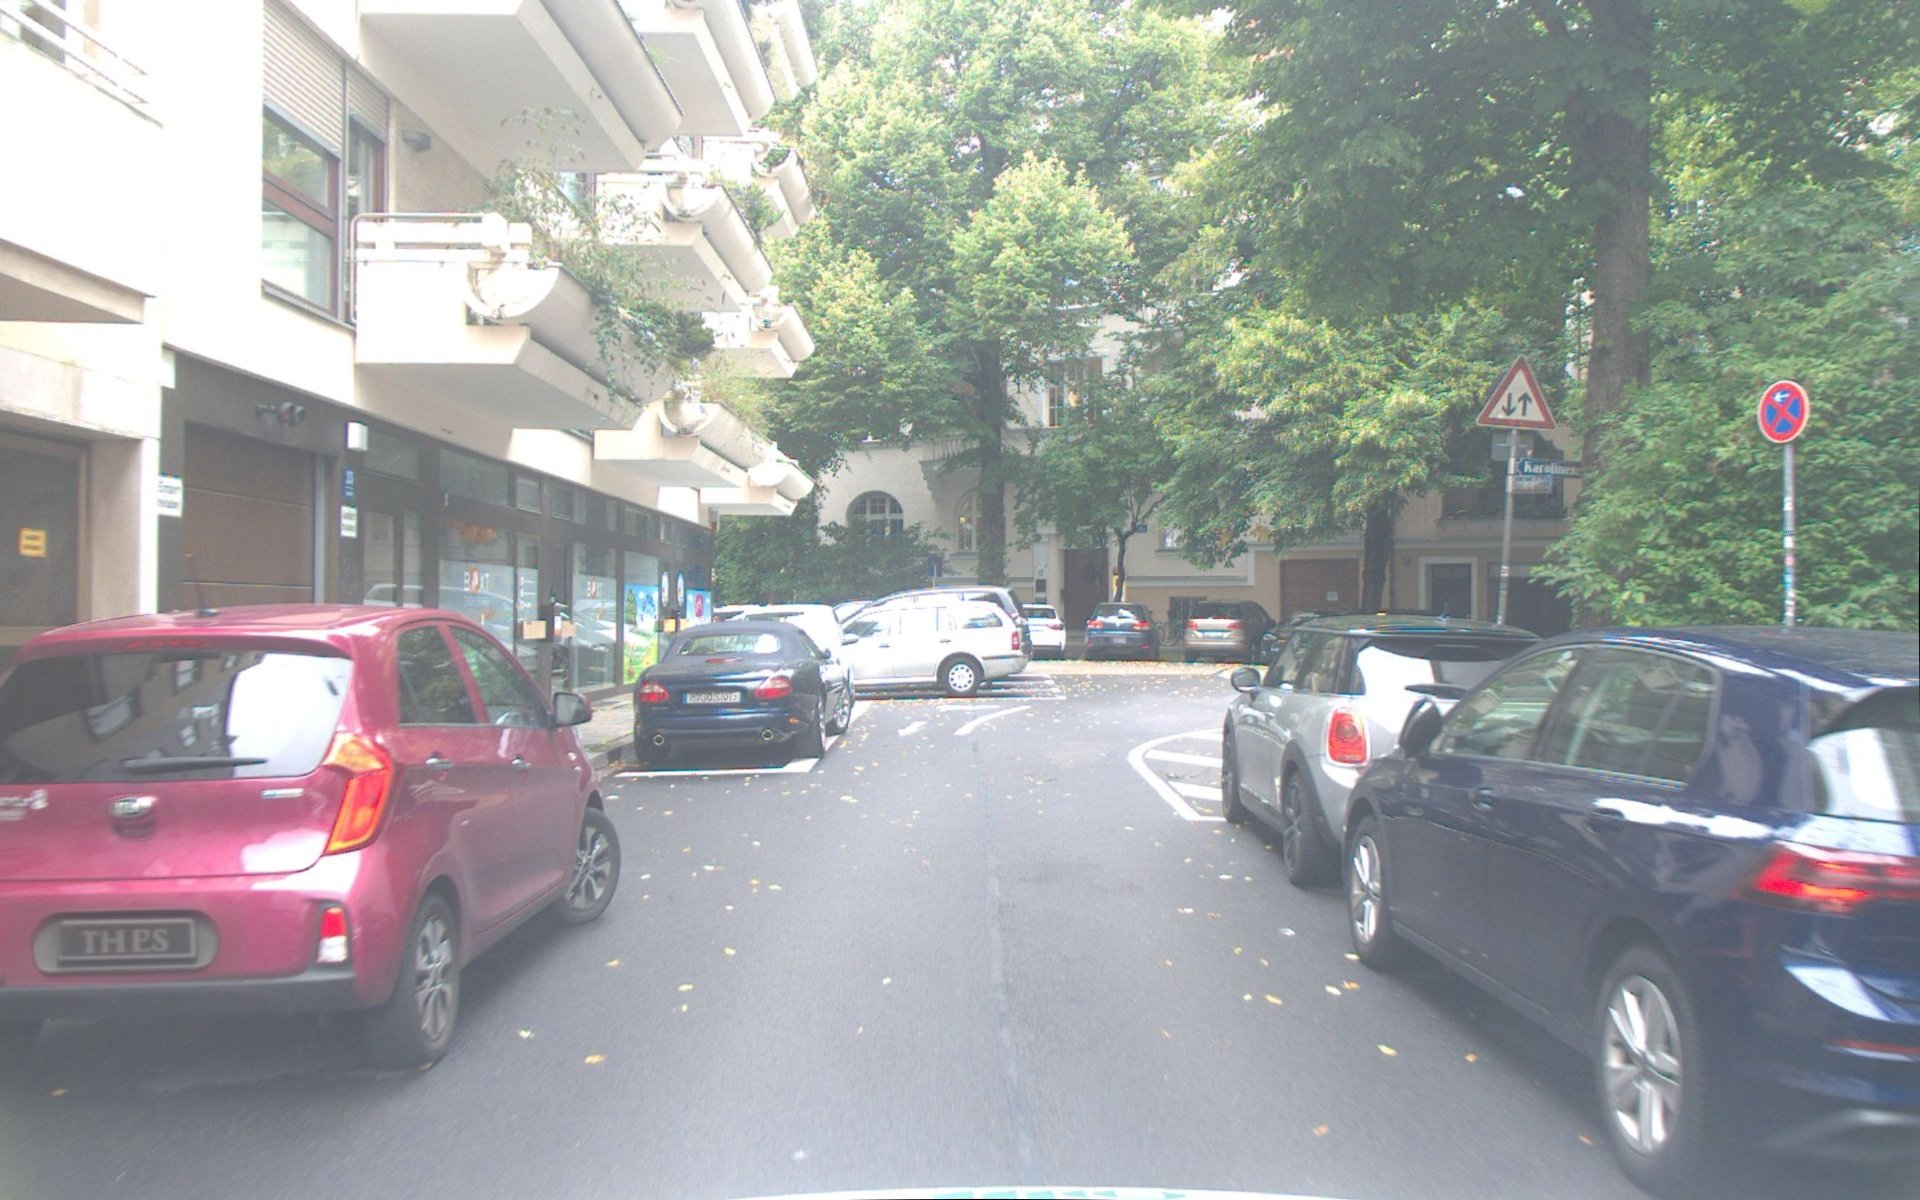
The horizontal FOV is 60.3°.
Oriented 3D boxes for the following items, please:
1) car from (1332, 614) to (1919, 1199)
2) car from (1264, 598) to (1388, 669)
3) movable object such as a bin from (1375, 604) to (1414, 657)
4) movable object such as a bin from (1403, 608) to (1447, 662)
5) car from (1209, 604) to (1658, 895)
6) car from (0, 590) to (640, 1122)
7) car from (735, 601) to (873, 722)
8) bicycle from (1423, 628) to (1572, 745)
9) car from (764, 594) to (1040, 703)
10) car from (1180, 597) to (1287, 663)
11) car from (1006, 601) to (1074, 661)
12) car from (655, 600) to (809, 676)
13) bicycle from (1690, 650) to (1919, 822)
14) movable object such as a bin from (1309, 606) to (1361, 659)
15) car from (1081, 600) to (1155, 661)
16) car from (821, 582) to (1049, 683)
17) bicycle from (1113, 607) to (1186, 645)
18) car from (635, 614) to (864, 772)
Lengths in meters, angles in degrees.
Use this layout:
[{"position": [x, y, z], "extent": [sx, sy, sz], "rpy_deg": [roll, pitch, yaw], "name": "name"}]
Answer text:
[{"position": [2.637, 0.780, 5.532], "extent": [1.796, 1.444, 4.057], "rpy_deg": [0, 0, -1], "name": "car"}, {"position": [8.749, 0.822, 39.283], "extent": [1.672, 1.492, 4.280], "rpy_deg": [2, -2, 29], "name": "car"}, {"position": [11.544, 0.794, 43.928], "extent": [0.699, 1.371, 1.371], "rpy_deg": [0, 0, 27], "name": "movable object such as a bin"}, {"position": [12.152, 0.899, 43.212], "extent": [0.845, 1.328, 1.431], "rpy_deg": [2, 1, 25], "name": "movable object such as a bin"}, {"position": [2.694, 0.768, 10.366], "extent": [1.707, 1.466, 4.000], "rpy_deg": [0, 0, 1], "name": "car"}, {"position": [-2.397, 0.744, 6.613], "extent": [1.586, 1.522, 3.708], "rpy_deg": [0, 0, -1], "name": "car"}, {"position": [-2.012, 0.756, 22.186], "extent": [1.529, 1.446, 3.832], "rpy_deg": [-2, 0, -1], "name": "car"}, {"position": [5.596, 0.868, 17.175], "extent": [1.753, 1.157, 0.547], "rpy_deg": [1, -1, -36], "name": "bicycle"}, {"position": [-0.885, 0.735, 25.984], "extent": [4.142, 1.480, 1.721], "rpy_deg": [-2, 0, -1], "name": "car"}, {"position": [6.930, 0.734, 41.612], "extent": [1.801, 1.557, 4.024], "rpy_deg": [1, 0, 22], "name": "car"}, {"position": [2.064, 0.778, 43.240], "extent": [1.683, 1.456, 4.001], "rpy_deg": [1, 0, 2], "name": "car"}, {"position": [-5.199, 0.859, 37.711], "extent": [3.239, 1.660, 1.501], "rpy_deg": [1, 0, -20], "name": "car"}, {"position": [5.967, 0.914, 11.450], "extent": [1.606, 1.074, 0.448], "rpy_deg": [1, 0, 43], "name": "bicycle"}, {"position": [10.091, 0.870, 44.498], "extent": [1.127, 1.372, 1.156], "rpy_deg": [1, 0, 25], "name": "movable object such as a bin"}, {"position": [4.067, 0.743, 42.158], "extent": [1.753, 1.456, 4.003], "rpy_deg": [1, 0, 7], "name": "car"}, {"position": [-0.479, 0.595, 31.239], "extent": [4.135, 1.713, 1.902], "rpy_deg": [-2, 0, -2], "name": "car"}, {"position": [5.812, 0.791, 50.787], "extent": [2.186, 1.135, 0.576], "rpy_deg": [1, 0, 28], "name": "bicycle"}, {"position": [-1.985, 0.836, 16.853], "extent": [1.760, 1.300, 4.616], "rpy_deg": [-2, 0, -1], "name": "car"}]
